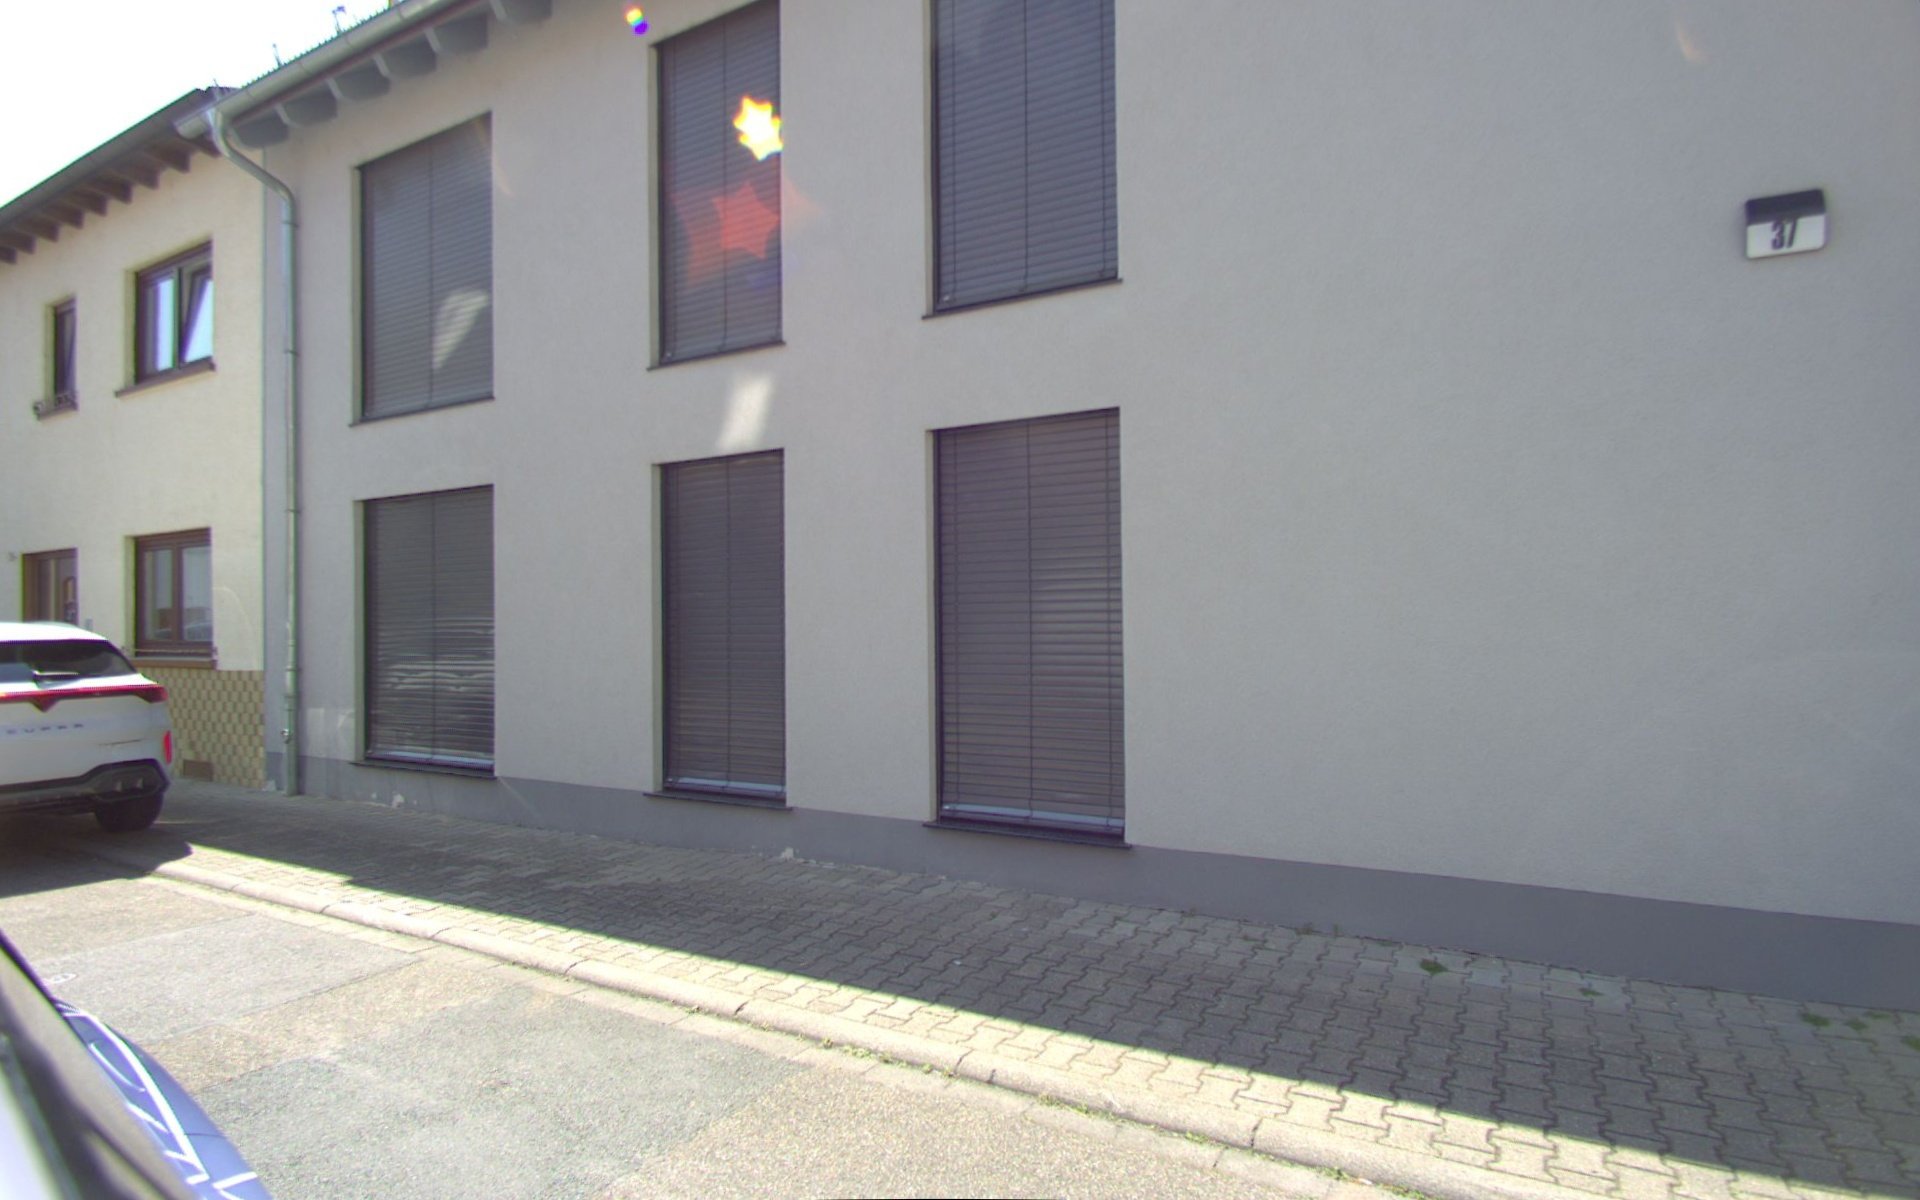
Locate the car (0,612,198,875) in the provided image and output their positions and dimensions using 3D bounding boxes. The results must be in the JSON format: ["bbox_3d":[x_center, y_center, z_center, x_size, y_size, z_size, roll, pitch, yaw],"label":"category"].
[{"bbox_3d":[-7.768,0.941,7.479,4.329,1.628,1.763,-1,-2,28],"label":"car"}]
